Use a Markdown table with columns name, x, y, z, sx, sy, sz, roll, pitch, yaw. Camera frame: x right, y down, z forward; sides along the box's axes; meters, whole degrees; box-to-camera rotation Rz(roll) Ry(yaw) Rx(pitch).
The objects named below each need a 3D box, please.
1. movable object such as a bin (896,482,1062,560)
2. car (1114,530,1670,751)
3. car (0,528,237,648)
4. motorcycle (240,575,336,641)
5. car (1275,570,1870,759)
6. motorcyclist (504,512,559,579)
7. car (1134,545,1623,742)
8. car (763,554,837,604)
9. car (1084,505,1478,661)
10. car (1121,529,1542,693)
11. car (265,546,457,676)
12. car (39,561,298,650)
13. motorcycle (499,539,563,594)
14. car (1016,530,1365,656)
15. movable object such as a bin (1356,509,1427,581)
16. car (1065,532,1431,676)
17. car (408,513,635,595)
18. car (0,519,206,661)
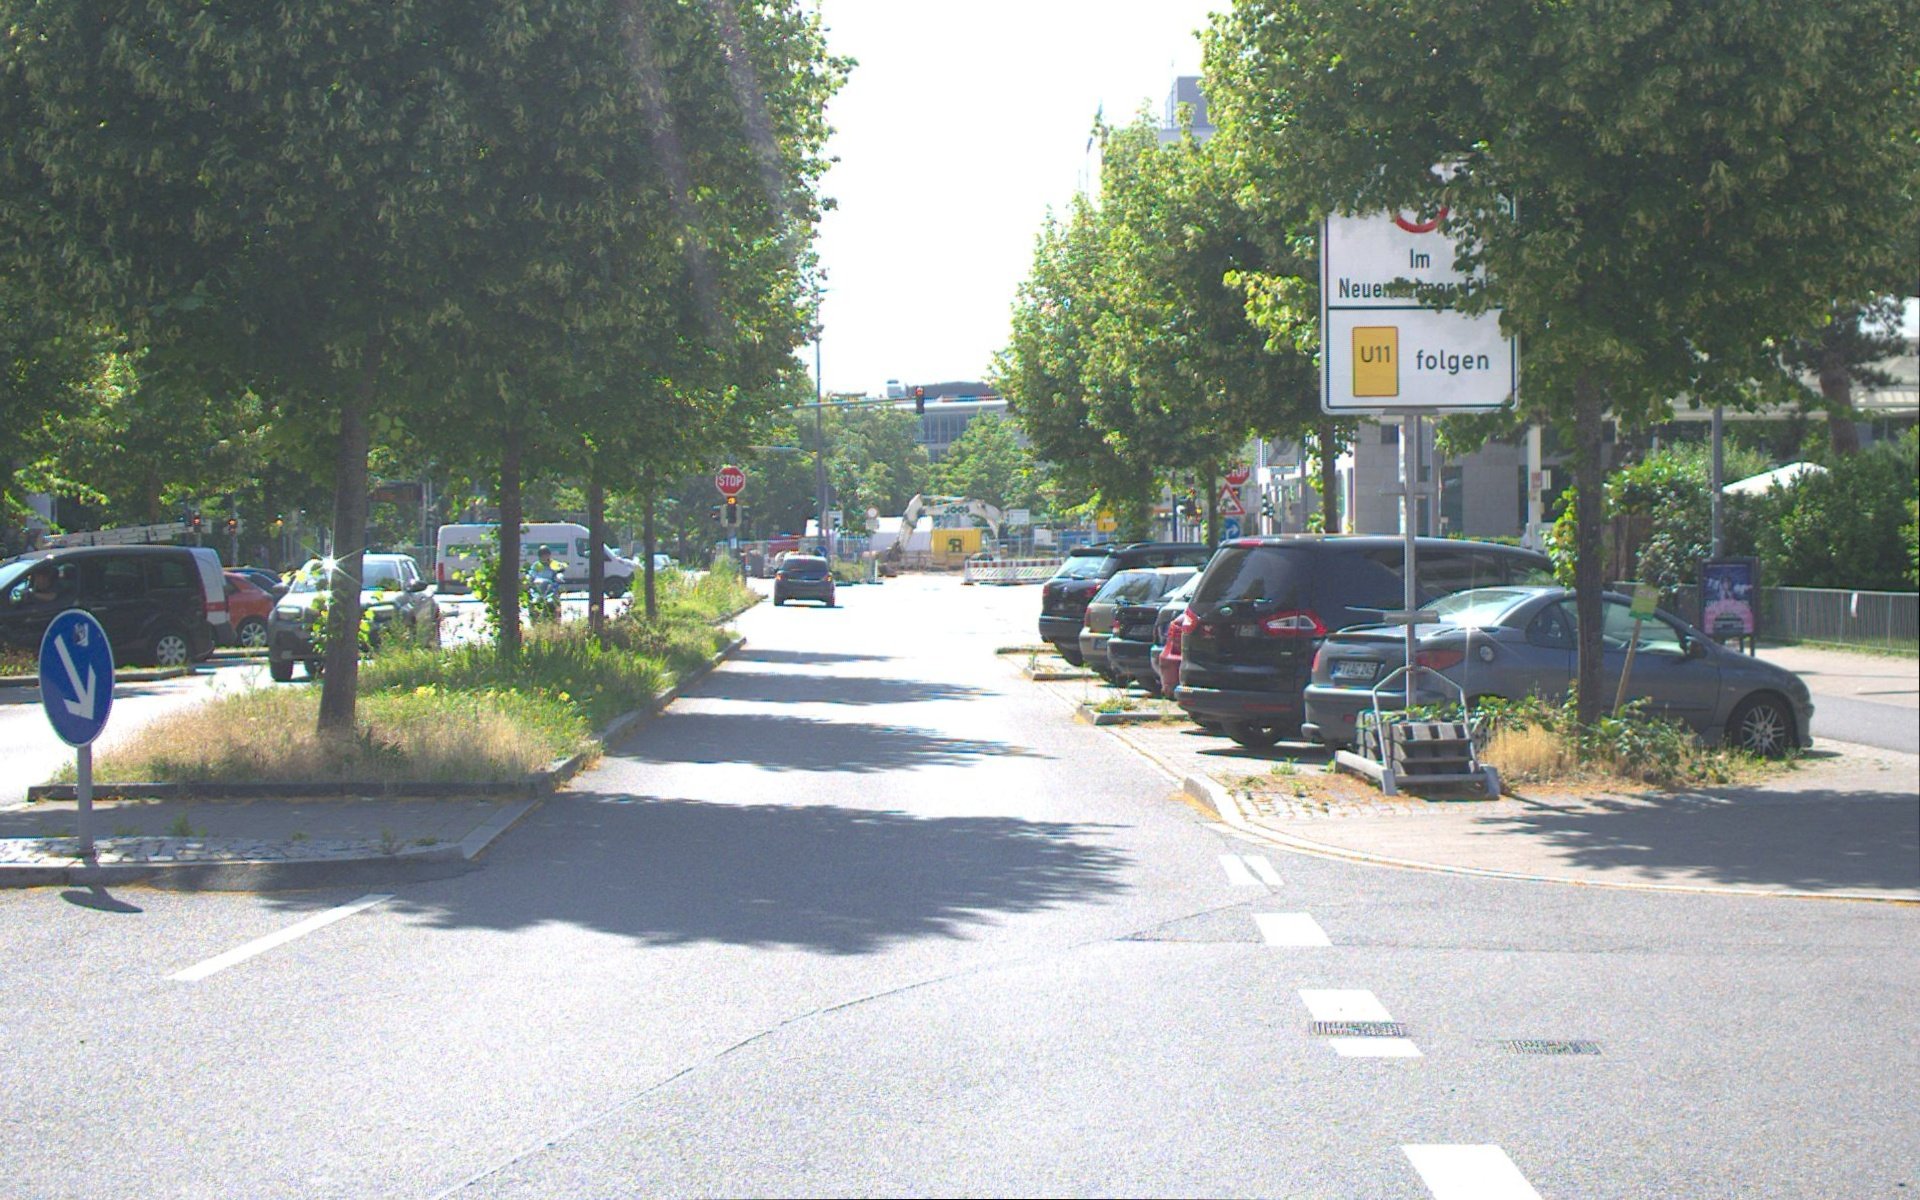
| name | x | y | z | sx | sy | sz | roll | pitch | yaw |
| --- | --- | --- | --- | --- | --- | --- | --- | --- | --- |
| movable object such as a bin | 1.126 | -4.612 | 201.622 | 9.675 | 4.534 | 3.164 | 0 | 1 | 0 |
| car | 3.489 | 0.265 | 27.556 | 4.107 | 1.634 | 2.044 | -1 | 1 | -35 |
| car | -13.075 | -0.201 | 52.216 | 3.761 | 1.766 | 1.819 | -1 | 1 | -26 |
| motorcycle | -13.341 | 0.156 | 68.302 | 1.845 | 1.280 | 0.693 | 0 | 1 | -8 |
| car | 4.438 | 0.419 | 24.843 | 3.986 | 1.232 | 1.753 | -1 | 1 | -27 |
| motorcyclist | -7.955 | -1.011 | 63.825 | 0.900 | 1.217 | 1.062 | 0 | 1 | -1 |
| car | 3.733 | 0.364 | 30.510 | 3.987 | 1.634 | 1.880 | -1 | -1 | -32 |
| car | -4.623 | -0.611 | 98.934 | 1.993 | 1.393 | 4.001 | 0 | 1 | -5 |
| car | 3.550 | -0.224 | 38.031 | 3.986 | 1.634 | 1.753 | -1 | 2 | -23 |
| car | 3.881 | 0.082 | 35.972 | 3.986 | 1.634 | 1.801 | -1 | 1 | -20 |
| car | -7.607 | 0.108 | 43.966 | 1.741 | 1.542 | 4.073 | -2 | 1 | -1 |
| car | -13.136 | 0.068 | 57.137 | 3.831 | 1.418 | 1.715 | -1 | 1 | -37 |
| motorcycle | -7.945 | -0.626 | 63.773 | 0.923 | 0.989 | 2.235 | 0 | 1 | 0 |
| car | 3.202 | -0.130 | 47.302 | 4.731 | 1.654 | 1.753 | -1 | 1 | -35 |
| movable object such as a bin | 9.946 | -1.264 | 79.238 | 1.307 | 1.586 | 1.396 | -3 | 1 | -4 |
| car | 3.403 | 0.025 | 40.857 | 3.986 | 1.634 | 1.753 | 0 | 1 | -13 |
| car | -14.729 | -1.574 | 115.933 | 7.427 | 2.665 | 2.903 | 0 | 2 | -5 |
| car | -12.531 | -0.150 | 46.266 | 4.176 | 1.810 | 2.004 | -2 | 2 | -39 |
